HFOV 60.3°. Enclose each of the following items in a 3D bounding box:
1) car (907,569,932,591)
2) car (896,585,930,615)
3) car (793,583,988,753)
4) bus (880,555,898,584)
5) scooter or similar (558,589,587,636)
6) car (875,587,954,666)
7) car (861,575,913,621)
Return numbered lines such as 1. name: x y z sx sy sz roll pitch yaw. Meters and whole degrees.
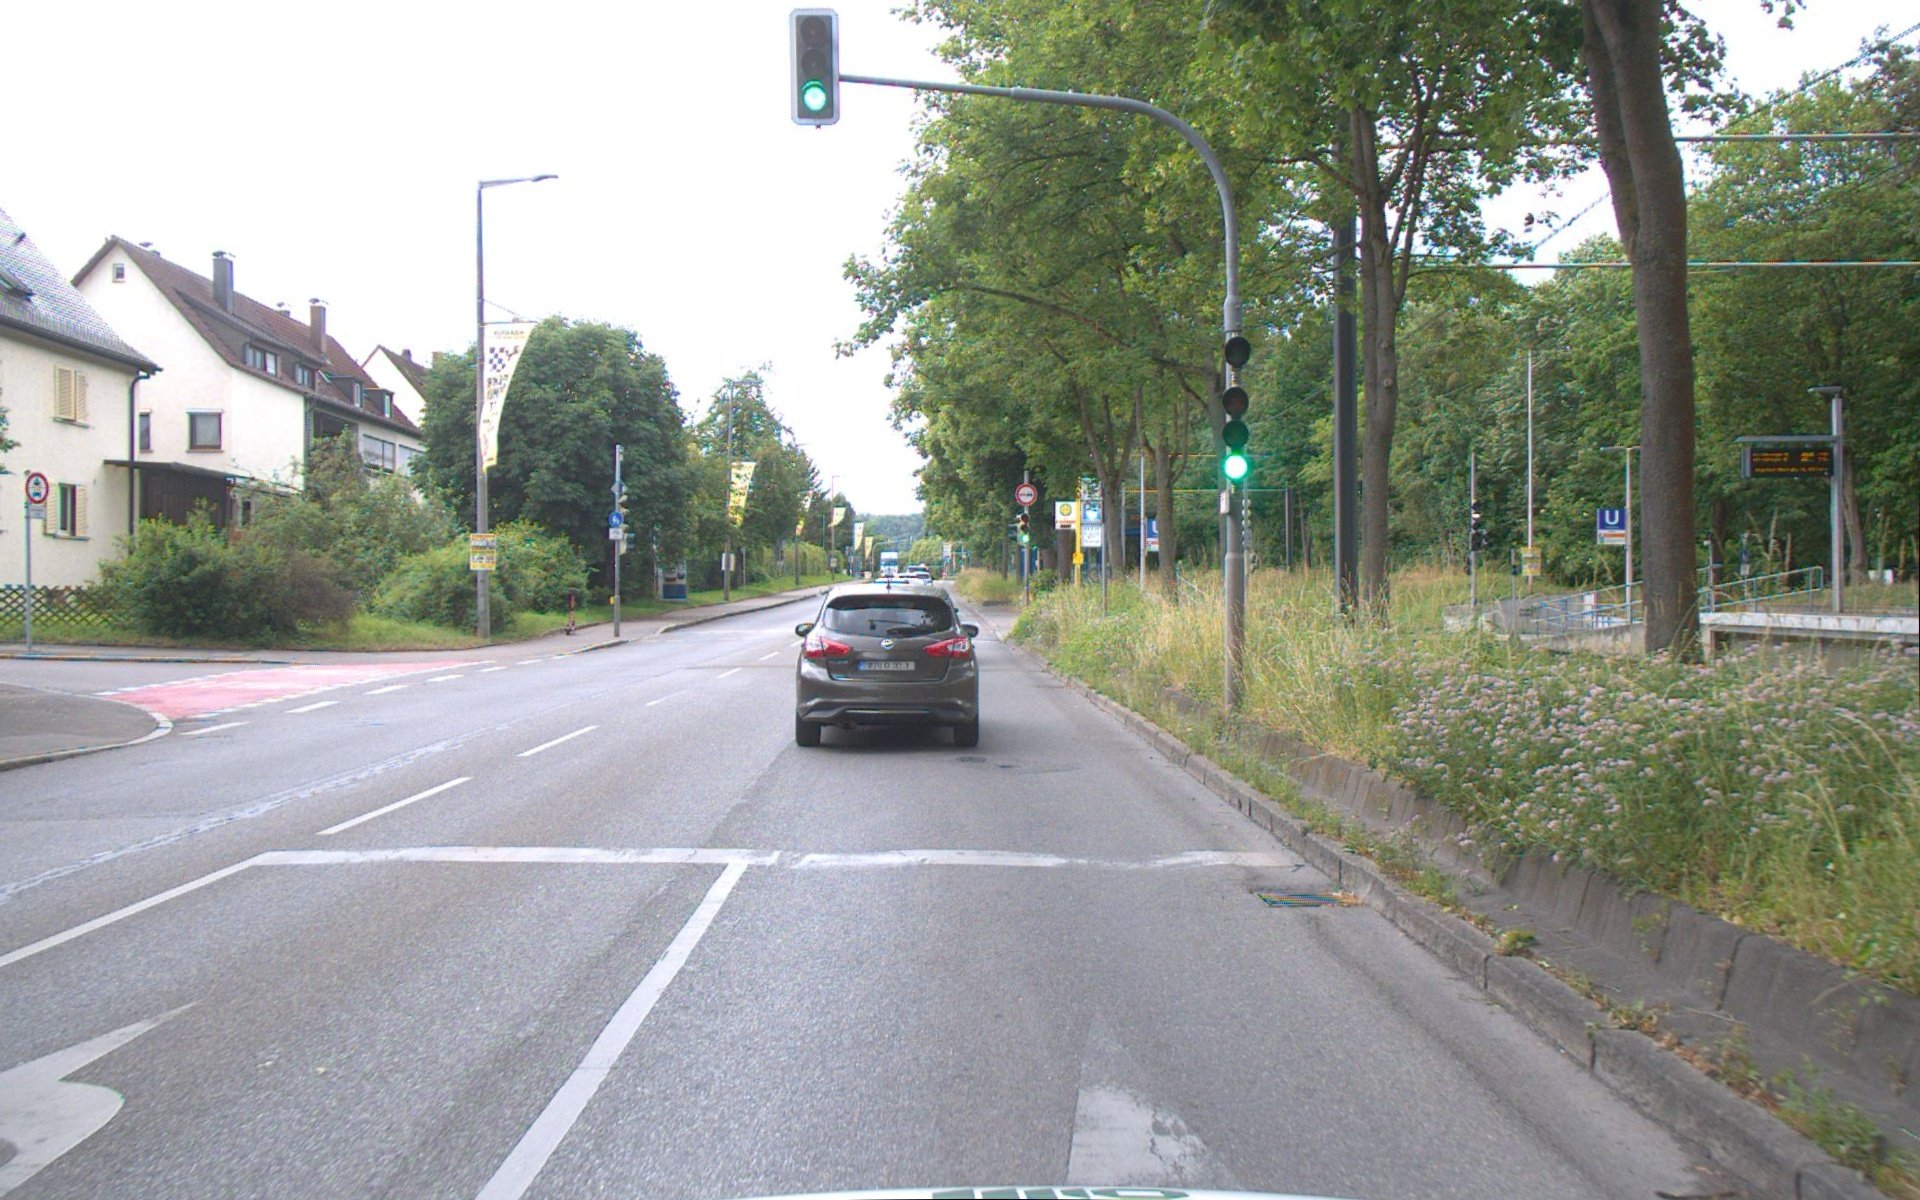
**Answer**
1. car: -2.752 -1.379 112.489 1.657 1.466 3.541 0 1 -1
2. car: -2.343 -0.022 82.517 1.657 1.466 3.541 0 1 -1
3. car: -0.644 0.602 16.736 1.747 1.533 3.695 0 0 -1
4. bus: -10.448 -4.460 243.422 2.437 4.096 10.215 0 1 -1
5. scooter or similar: -10.749 0.327 45.867 0.453 1.281 1.426 0 0 0
6. car: -0.897 0.488 33.014 1.471 1.466 3.541 0 1 -1
7. car: -2.415 -0.085 55.254 1.657 1.466 3.541 0 1 -1
